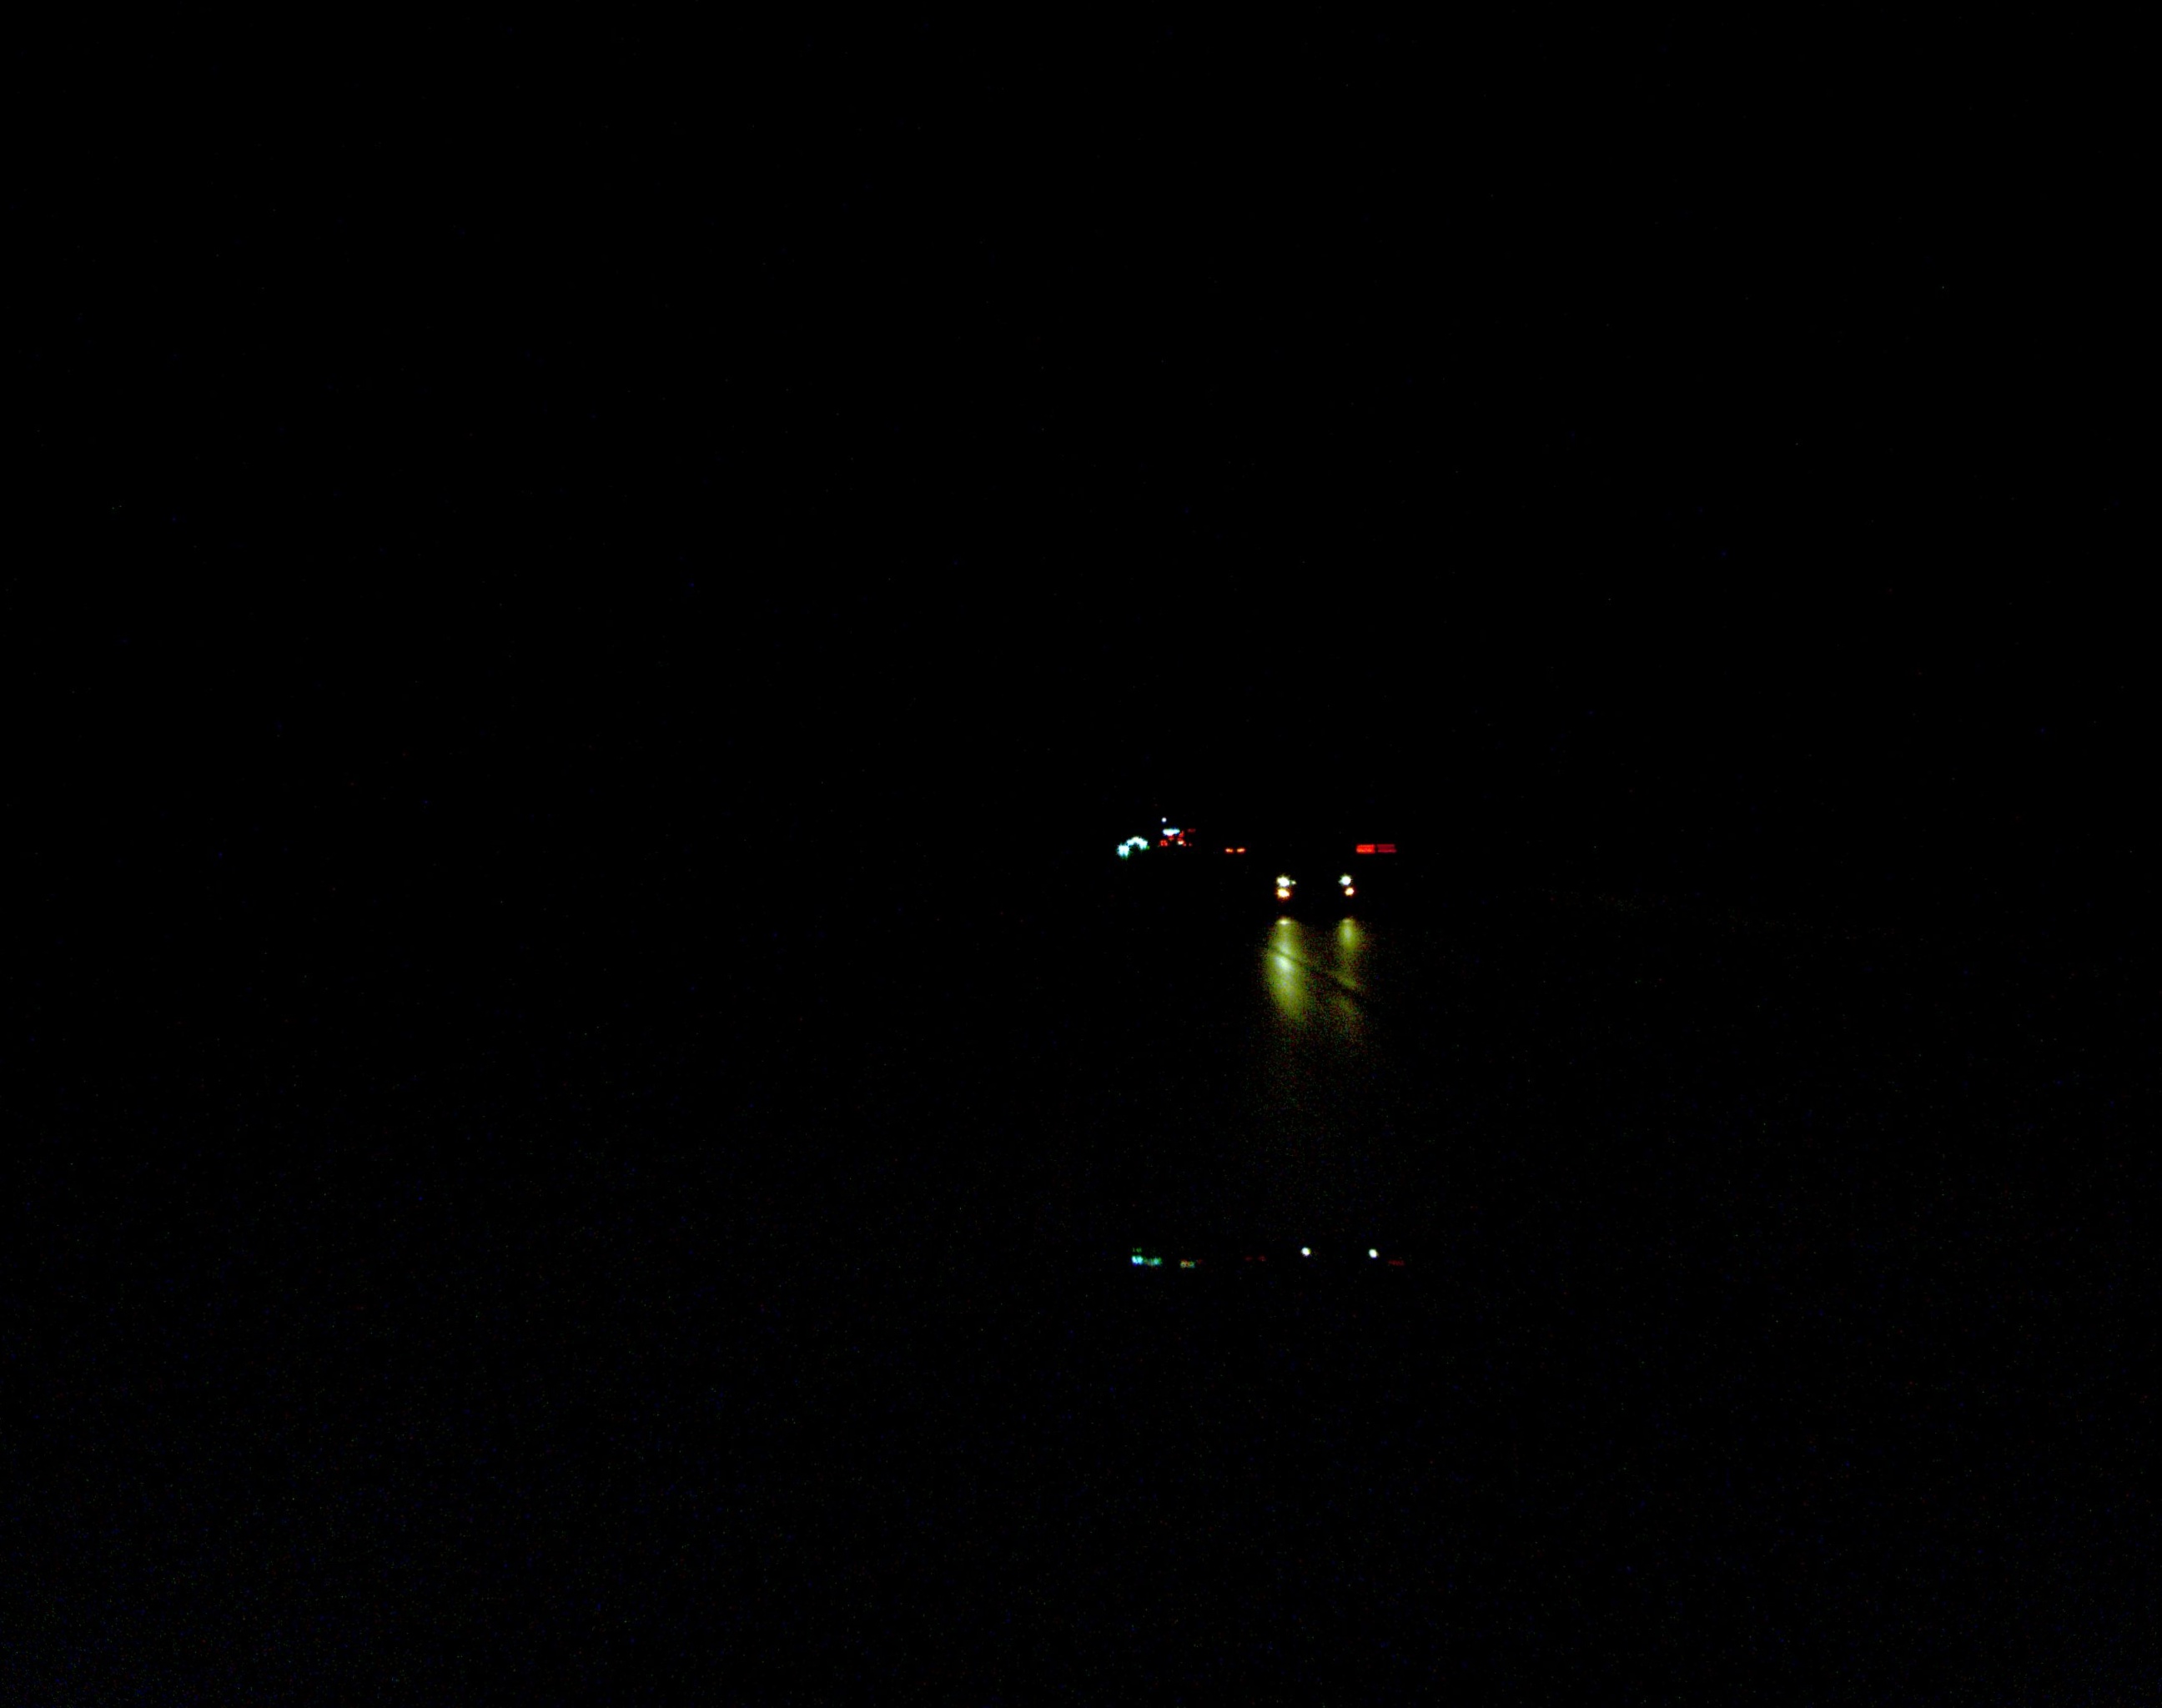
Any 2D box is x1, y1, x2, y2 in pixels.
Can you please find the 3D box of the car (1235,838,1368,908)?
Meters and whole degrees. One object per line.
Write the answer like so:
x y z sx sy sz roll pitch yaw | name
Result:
5.584 0.469 20.108 1.998 1.509 5.652 -2 -1 2 | car

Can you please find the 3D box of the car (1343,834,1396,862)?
18.738 -0.428 49.556 1.827 1.684 4.672 -1 2 1 | car

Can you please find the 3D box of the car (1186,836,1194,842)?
33.590 -4.615 233.787 2.058 1.771 5.941 -2 1 4 | car

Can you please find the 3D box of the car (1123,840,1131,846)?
13.108 -3.212 215.572 1.998 1.653 3.999 -1 2 2 | car

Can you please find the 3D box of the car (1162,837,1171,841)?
29.978 -5.232 266.442 2.565 1.547 5.109 -2 1 4 | car

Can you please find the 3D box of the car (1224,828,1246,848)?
26.283 -2.699 130.152 2.657 3.067 8.217 -2 0 5 | car
